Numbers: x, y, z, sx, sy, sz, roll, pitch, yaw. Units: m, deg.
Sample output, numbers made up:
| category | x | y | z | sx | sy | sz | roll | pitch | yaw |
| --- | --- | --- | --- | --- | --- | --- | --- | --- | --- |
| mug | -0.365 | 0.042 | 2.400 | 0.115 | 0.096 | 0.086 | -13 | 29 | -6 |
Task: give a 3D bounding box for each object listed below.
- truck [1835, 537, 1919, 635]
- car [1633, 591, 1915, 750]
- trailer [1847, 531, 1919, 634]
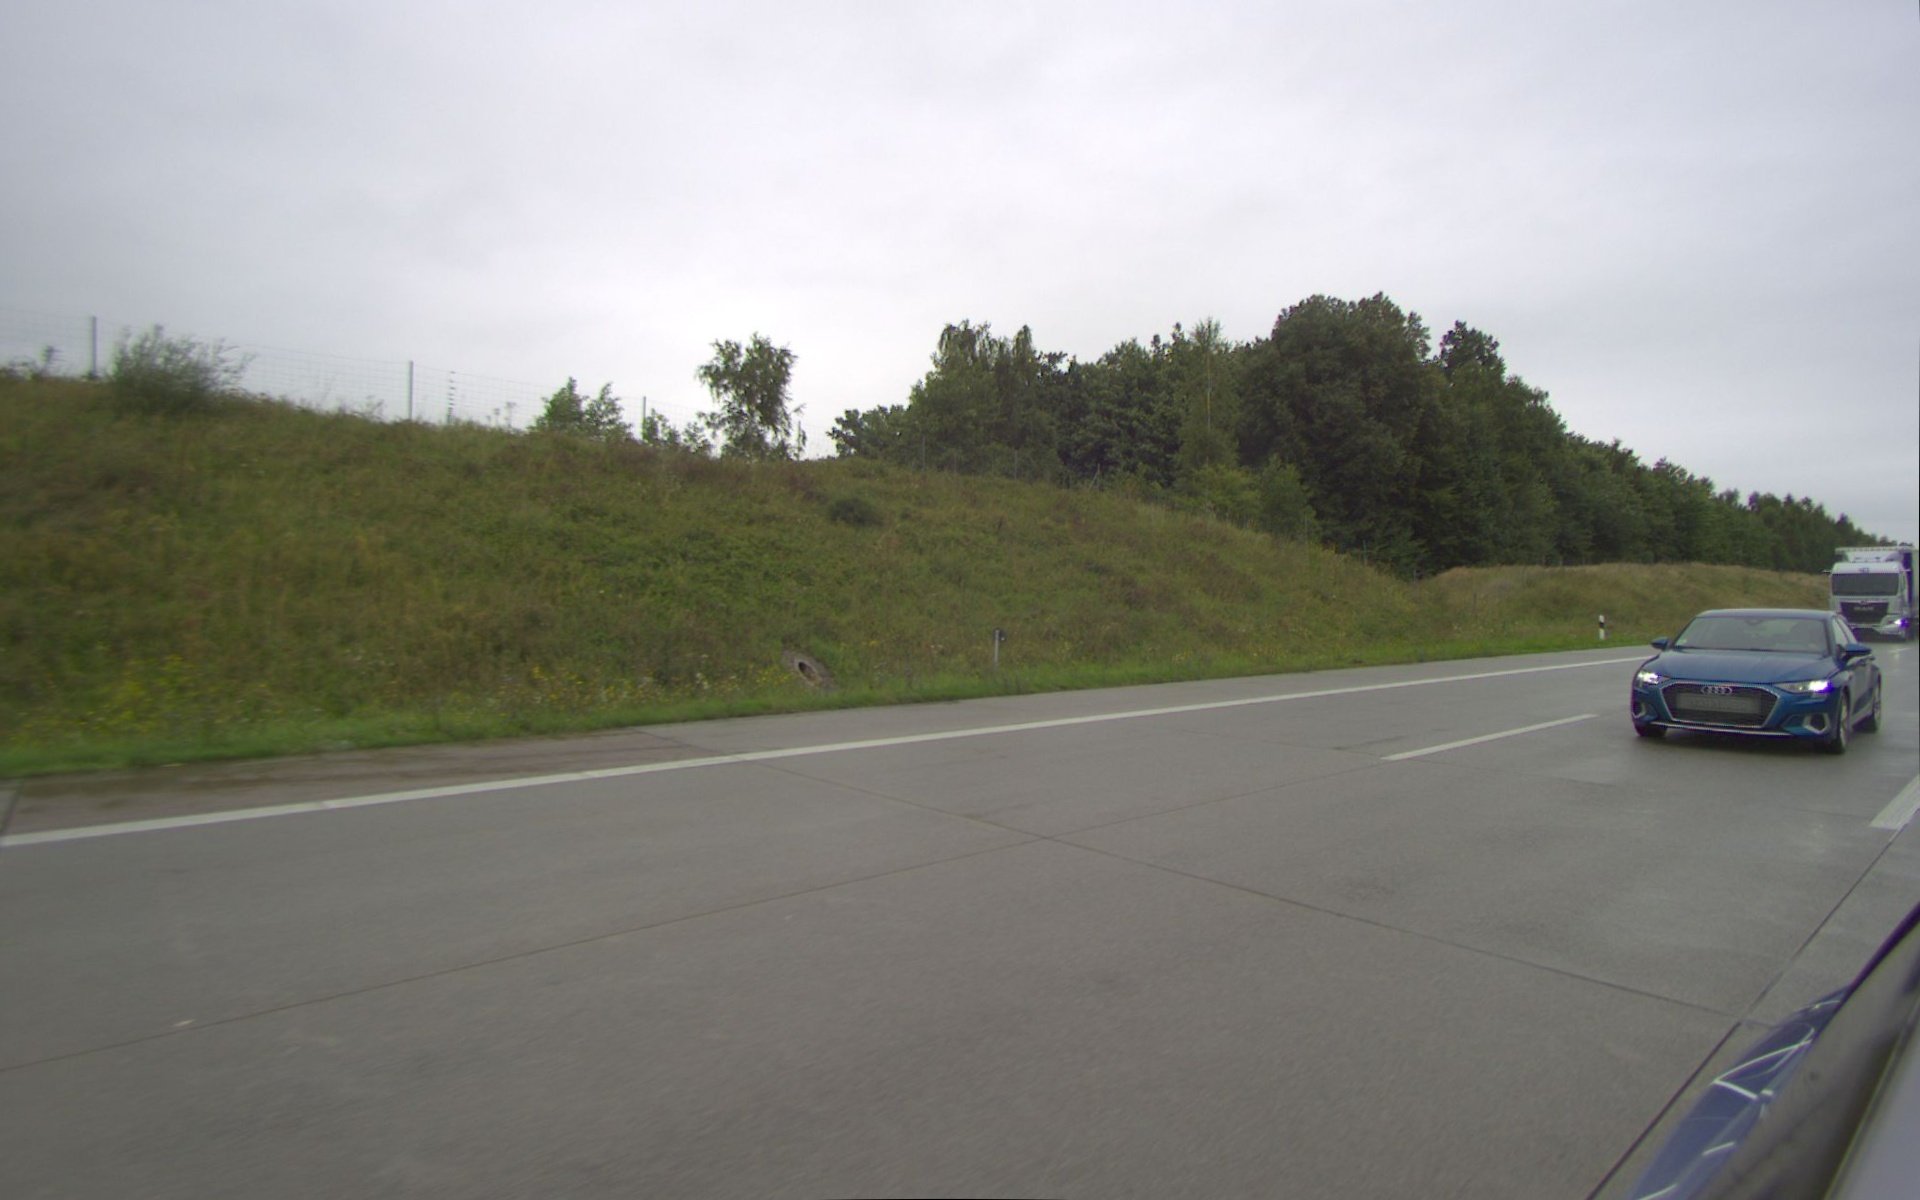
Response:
| category | x | y | z | sx | sy | sz | roll | pitch | yaw |
| --- | --- | --- | --- | --- | --- | --- | --- | --- | --- |
| truck | 40.702 | -0.528 | 44.348 | 5.584 | 4.005 | 2.641 | 1 | -1 | -40 |
| car | 9.520 | 0.659 | 11.691 | 4.590 | 1.477 | 1.732 | 0 | 1 | -41 |
| trailer | 46.344 | -0.643 | 49.257 | 14.936 | 4.436 | 2.711 | 1 | -1 | -41 |
